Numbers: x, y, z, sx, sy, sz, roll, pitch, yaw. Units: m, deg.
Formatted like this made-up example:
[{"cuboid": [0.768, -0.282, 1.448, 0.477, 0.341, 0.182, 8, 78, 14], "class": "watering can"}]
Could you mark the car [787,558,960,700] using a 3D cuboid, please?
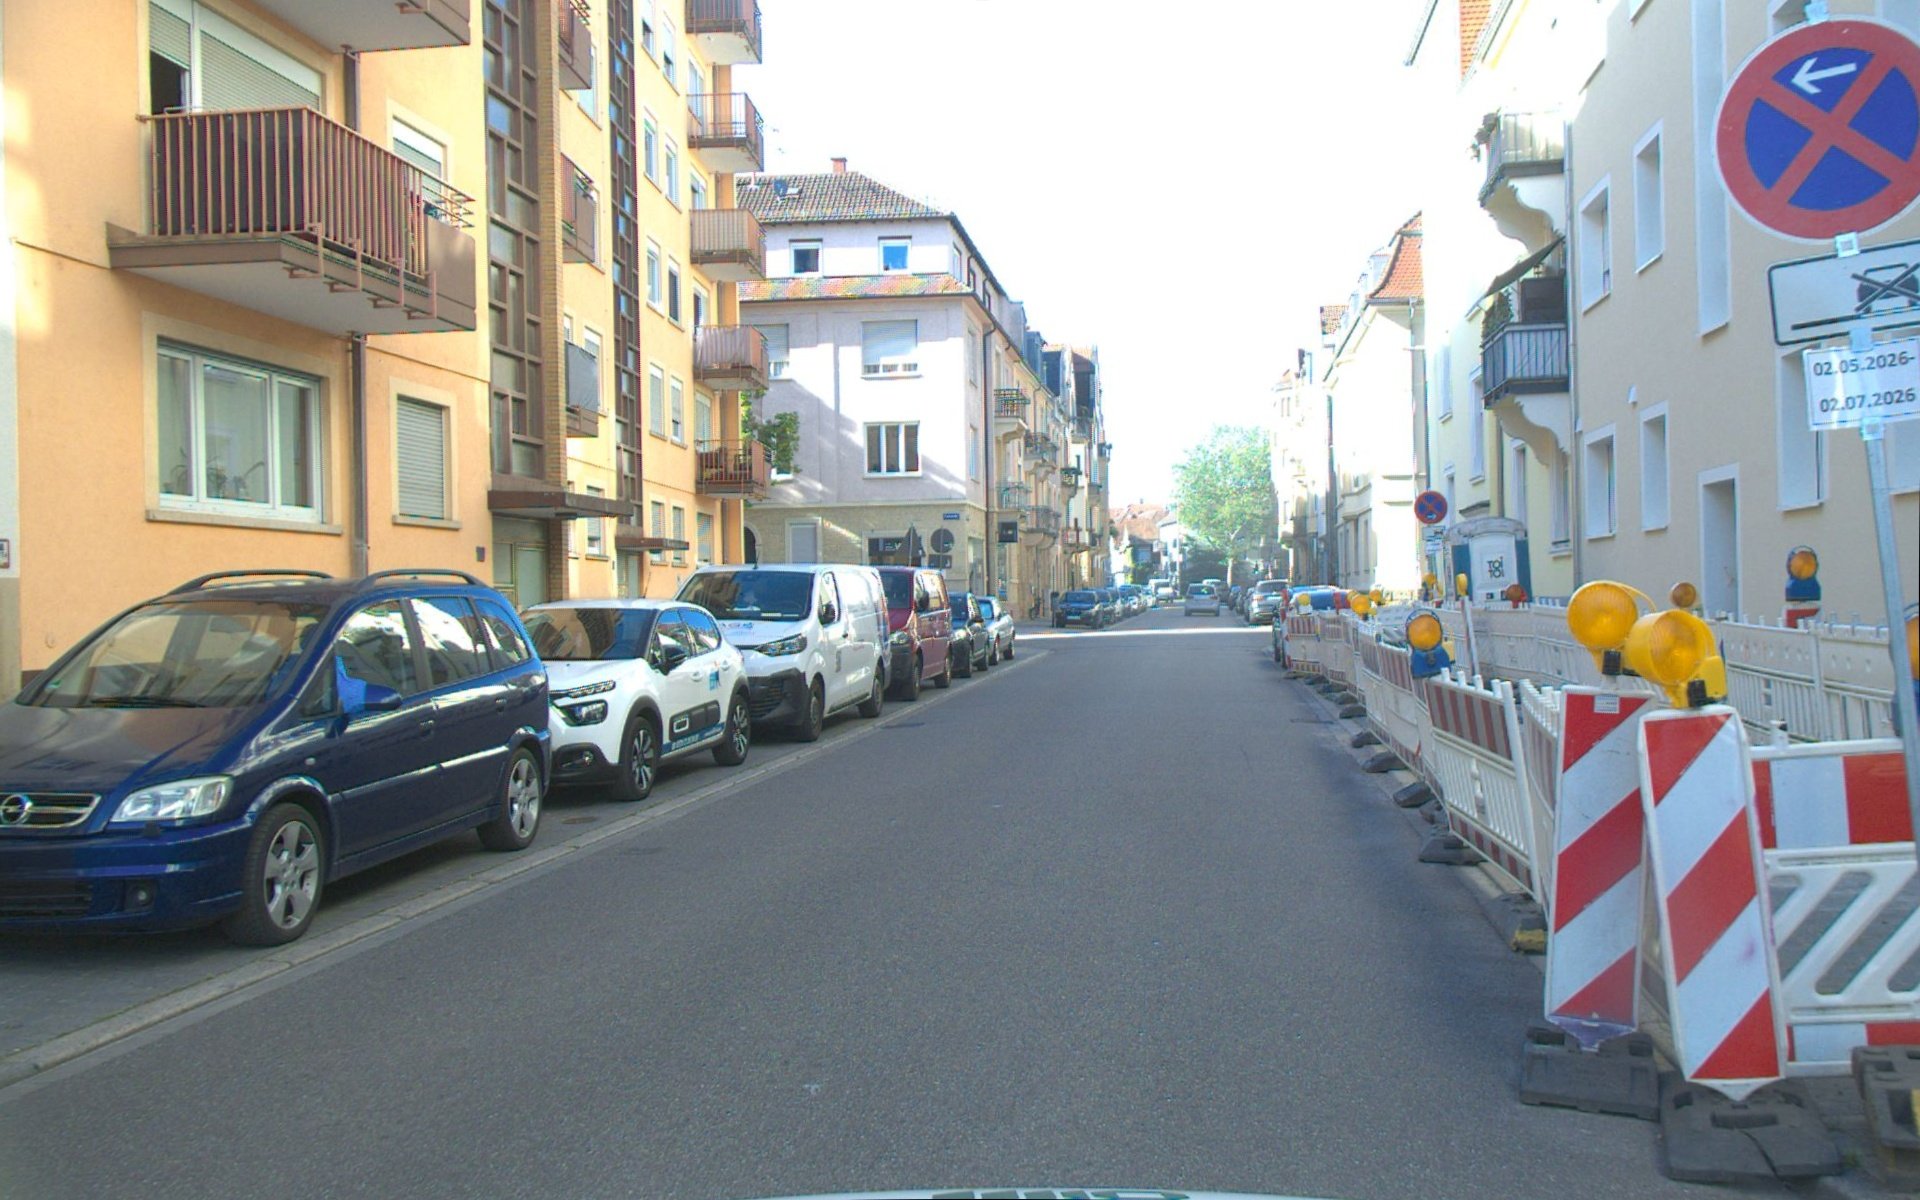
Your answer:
[{"cuboid": [-1.208, 0.401, 25.415, 1.725, 1.959, 4.939, 0, 0, 8], "class": "car"}]

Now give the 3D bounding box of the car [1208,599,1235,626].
[{"cuboid": [20.479, 0.974, 129.786, 1.961, 2.035, 4.490, 1, -1, 8], "class": "car"}]

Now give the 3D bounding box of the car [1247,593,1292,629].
[{"cuboid": [13.563, 0.518, 72.737, 1.799, 1.456, 4.032, -2, -2, 9], "class": "car"}]

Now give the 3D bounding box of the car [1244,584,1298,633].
[{"cuboid": [11.645, 0.369, 61.977, 1.872, 1.673, 4.777, -2, -2, 11], "class": "car"}]

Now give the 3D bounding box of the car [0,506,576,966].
[{"cuboid": [-3.656, 0.530, 8.739, 1.725, 1.802, 4.297, 0, 0, 8], "class": "car"}]

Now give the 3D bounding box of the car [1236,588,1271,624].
[{"cuboid": [16.065, 0.359, 90.772, 1.799, 1.818, 4.031, -1, -2, 9], "class": "car"}]

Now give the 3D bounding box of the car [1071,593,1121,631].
[{"cuboid": [6.153, 0.532, 74.230, 1.961, 1.610, 4.490, 1, -1, 8], "class": "car"}]

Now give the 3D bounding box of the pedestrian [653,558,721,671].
[{"cuboid": [-4.566, 0.242, 27.743, 0.904, 1.849, 0.995, 0, 0, 5], "class": "pedestrian"}]

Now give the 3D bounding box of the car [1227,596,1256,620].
[{"cuboid": [18.584, 0.537, 109.362, 1.799, 1.457, 4.031, -2, -2, 9], "class": "car"}]

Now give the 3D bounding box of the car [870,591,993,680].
[{"cuboid": [-0.466, 0.616, 31.070, 1.725, 1.529, 4.003, -1, 0, 7], "class": "car"}]

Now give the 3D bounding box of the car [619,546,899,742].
[{"cuboid": [-2.136, 0.435, 19.329, 1.933, 1.959, 5.313, 0, 0, 8], "class": "car"}]

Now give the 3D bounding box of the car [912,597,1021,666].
[{"cuboid": [0.213, 0.644, 36.227, 1.725, 1.401, 4.482, 0, 0, 9], "class": "car"}]

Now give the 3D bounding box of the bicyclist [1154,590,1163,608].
[{"cuboid": [16.208, -0.087, 135.175, 0.648, 1.410, 0.754, -2, -1, 8], "class": "bicyclist"}]

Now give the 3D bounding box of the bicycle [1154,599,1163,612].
[{"cuboid": [16.213, 0.466, 135.159, 0.648, 1.037, 2.068, -2, -1, 8], "class": "bicycle"}]

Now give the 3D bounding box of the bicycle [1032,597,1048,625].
[{"cuboid": [3.860, 0.503, 79.699, 0.529, 1.324, 1.868, 0, 0, 10], "class": "bicycle"}]

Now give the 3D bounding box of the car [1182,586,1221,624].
[{"cuboid": [13.036, 0.309, 89.323, 1.961, 1.947, 4.491, 1, -1, 8], "class": "car"}]

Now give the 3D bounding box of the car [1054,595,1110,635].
[{"cuboid": [4.712, 0.578, 63.467, 1.644, 1.451, 4.277, 1, -1, 10], "class": "car"}]

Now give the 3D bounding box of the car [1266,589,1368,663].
[{"cuboid": [8.050, 0.551, 37.595, 1.725, 1.496, 4.087, -3, 0, 5], "class": "car"}]

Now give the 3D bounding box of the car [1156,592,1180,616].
[{"cuboid": [18.225, 0.363, 144.940, 1.961, 2.035, 4.490, 1, -1, 8], "class": "car"}]

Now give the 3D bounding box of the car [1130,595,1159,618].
[{"cuboid": [13.448, 0.478, 120.466, 1.961, 1.633, 4.490, 1, -1, 8], "class": "car"}]

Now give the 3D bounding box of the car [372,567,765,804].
[{"cuboid": [-3.025, 0.593, 13.787, 1.725, 1.649, 4.298, 0, 0, 8], "class": "car"}]

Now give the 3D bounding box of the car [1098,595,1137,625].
[{"cuboid": [8.595, 0.548, 90.106, 1.936, 1.508, 4.331, 1, -1, 8], "class": "car"}]

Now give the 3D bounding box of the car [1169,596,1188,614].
[{"cuboid": [22.998, 0.530, 173.891, 1.961, 1.849, 4.490, 1, -1, 8], "class": "car"}]

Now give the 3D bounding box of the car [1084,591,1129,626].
[{"cuboid": [7.230, 0.438, 81.495, 1.961, 1.647, 4.490, 1, -1, 8], "class": "car"}]

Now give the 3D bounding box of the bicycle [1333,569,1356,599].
[{"cuboid": [16.471, -0.675, 70.964, 0.745, 1.268, 2.594, -1, 0, 8], "class": "bicycle"}]

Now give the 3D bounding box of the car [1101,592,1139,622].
[{"cuboid": [9.195, 0.402, 94.783, 1.961, 1.647, 4.490, 1, -1, 8], "class": "car"}]

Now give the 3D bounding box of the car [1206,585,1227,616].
[{"cuboid": [22.945, 0.054, 147.915, 1.799, 2.578, 4.179, -2, -2, 9], "class": "car"}]
